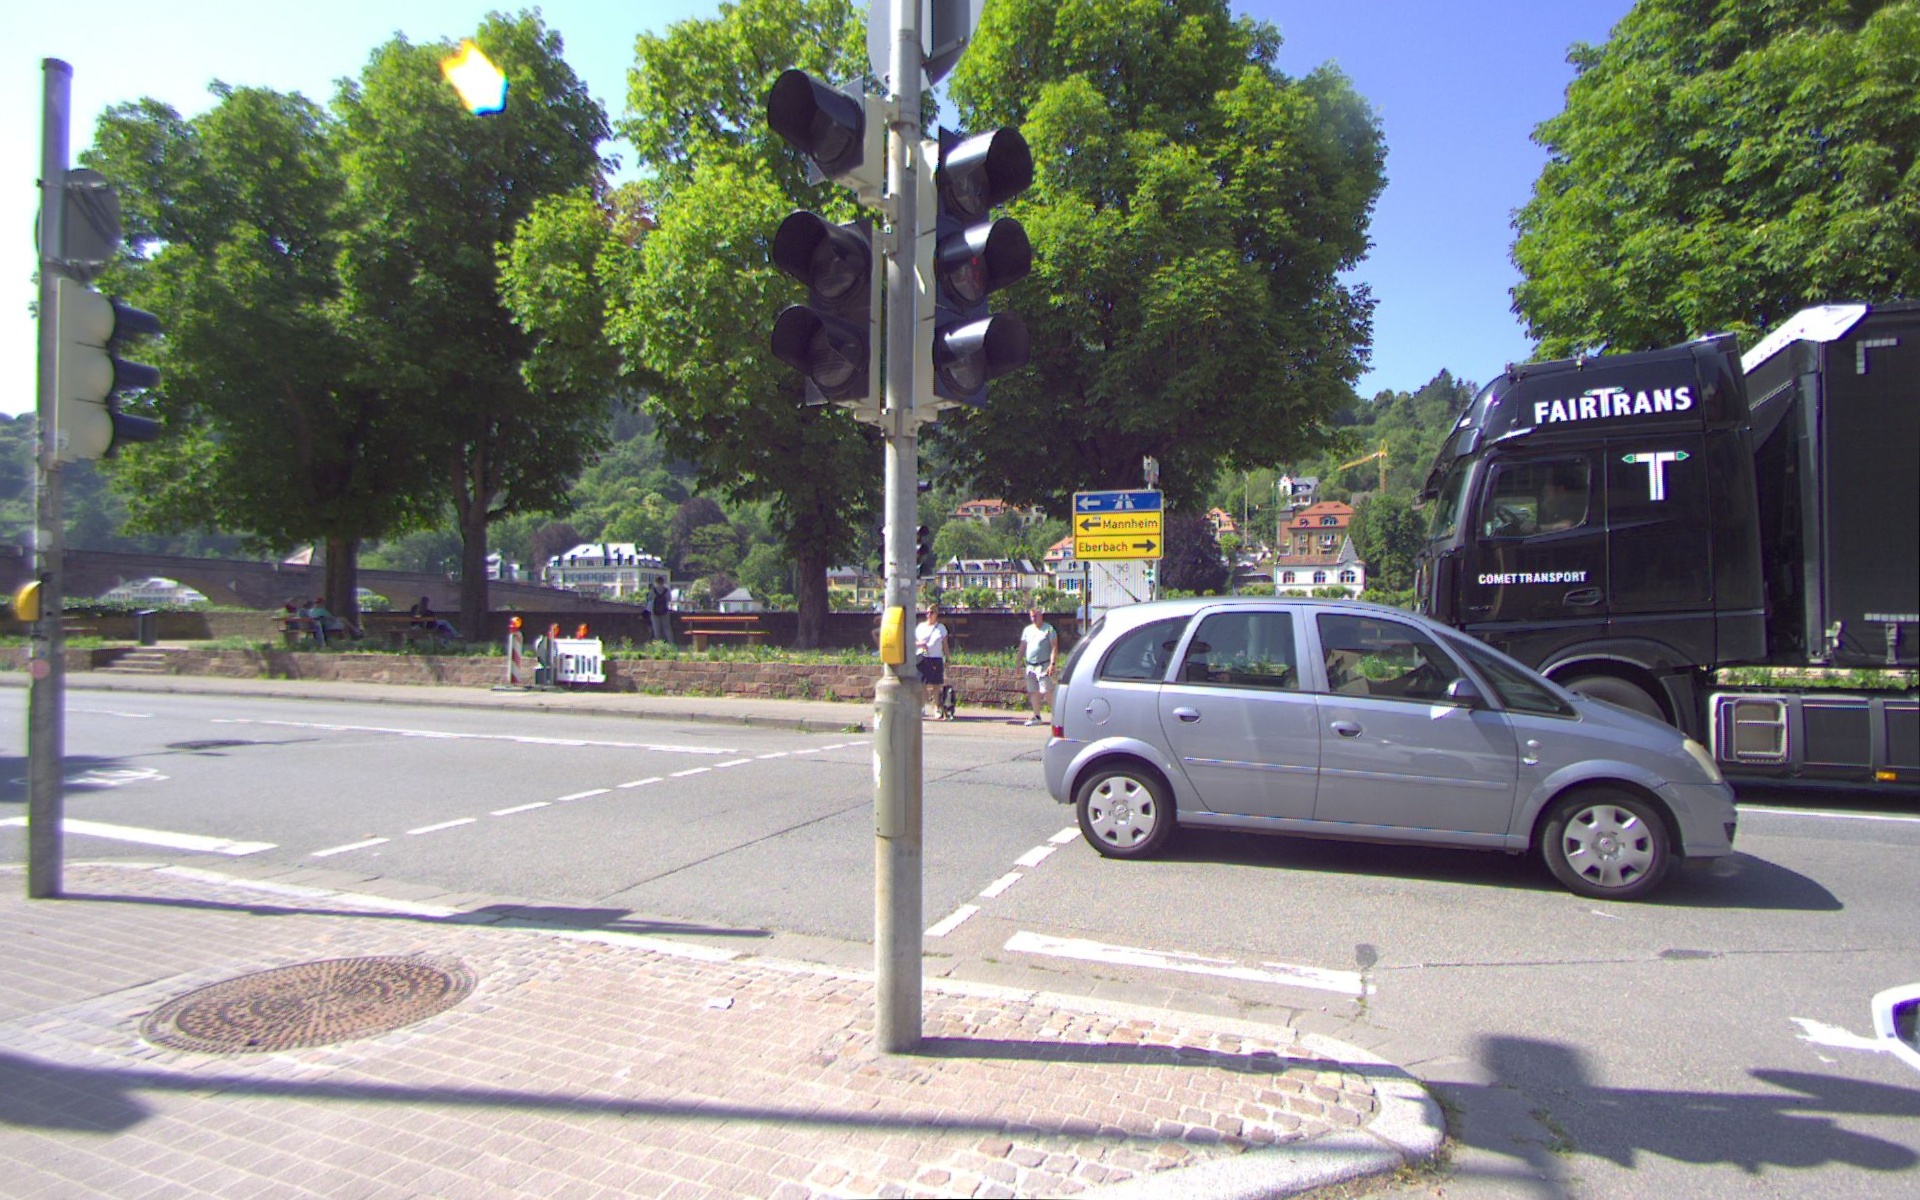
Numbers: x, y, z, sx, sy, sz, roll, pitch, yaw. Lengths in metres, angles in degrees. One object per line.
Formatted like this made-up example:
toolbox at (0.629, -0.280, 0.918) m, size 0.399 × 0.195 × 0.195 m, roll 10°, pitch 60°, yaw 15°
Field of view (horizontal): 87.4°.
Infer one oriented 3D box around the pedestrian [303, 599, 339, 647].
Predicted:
pedestrian at (-17.083, 0.619, 26.842) m, size 0.460 × 1.287 × 0.631 m, roll 0°, pitch -2°, yaw 25°

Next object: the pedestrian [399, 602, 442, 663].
pedestrian at (-13.637, 0.833, 25.400) m, size 0.460 × 1.512 × 0.804 m, roll 0°, pitch -2°, yaw 25°

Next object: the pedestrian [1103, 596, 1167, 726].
pedestrian at (2.534, 0.872, 14.549) m, size 0.695 × 1.825 × 0.576 m, roll -1°, pitch -3°, yaw 43°

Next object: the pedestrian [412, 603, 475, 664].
pedestrian at (-13.046, 0.863, 25.401) m, size 0.460 × 1.499 × 1.384 m, roll 0°, pitch -2°, yaw 25°

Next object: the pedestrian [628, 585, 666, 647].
pedestrian at (-9.111, 0.476, 29.244) m, size 0.696 × 1.754 × 0.757 m, roll 1°, pitch -2°, yaw 17°

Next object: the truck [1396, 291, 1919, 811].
truck at (7.396, -0.318, 9.507) m, size 5.816 × 4.124 × 2.840 m, roll 0°, pitch -3°, yaw 20°

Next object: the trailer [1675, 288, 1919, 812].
trailer at (13.618, -0.346, 7.170) m, size 13.502 × 4.157 × 2.843 m, roll 0°, pitch -3°, yaw 21°

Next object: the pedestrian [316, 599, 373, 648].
pedestrian at (-16.465, 0.643, 26.899) m, size 0.460 × 1.287 × 1.223 m, roll 0°, pitch -2°, yaw 25°

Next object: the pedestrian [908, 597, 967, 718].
pedestrian at (-0.347, 0.878, 15.846) m, size 0.621 × 1.826 × 0.724 m, roll 3°, pitch 1°, yaw 20°

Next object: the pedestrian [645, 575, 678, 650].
pedestrian at (-7.669, 0.324, 25.826) m, size 0.752 × 1.882 × 0.754 m, roll 2°, pitch -2°, yaw -16°

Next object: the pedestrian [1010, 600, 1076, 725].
pedestrian at (1.231, 0.919, 14.946) m, size 0.683 × 1.793 × 0.711 m, roll 2°, pitch -2°, yaw -34°

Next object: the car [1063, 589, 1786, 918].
car at (2.643, 0.771, 6.392) m, size 3.665 × 1.632 × 1.693 m, roll 0°, pitch -1°, yaw 19°

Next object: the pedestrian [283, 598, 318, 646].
pedestrian at (-17.868, 0.598, 27.216) m, size 0.460 × 1.287 × 0.631 m, roll 0°, pitch -2°, yaw 25°

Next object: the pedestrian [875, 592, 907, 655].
pedestrian at (-1.401, 0.491, 20.395) m, size 0.631 × 1.243 × 0.414 m, roll -1°, pitch -4°, yaw -3°
